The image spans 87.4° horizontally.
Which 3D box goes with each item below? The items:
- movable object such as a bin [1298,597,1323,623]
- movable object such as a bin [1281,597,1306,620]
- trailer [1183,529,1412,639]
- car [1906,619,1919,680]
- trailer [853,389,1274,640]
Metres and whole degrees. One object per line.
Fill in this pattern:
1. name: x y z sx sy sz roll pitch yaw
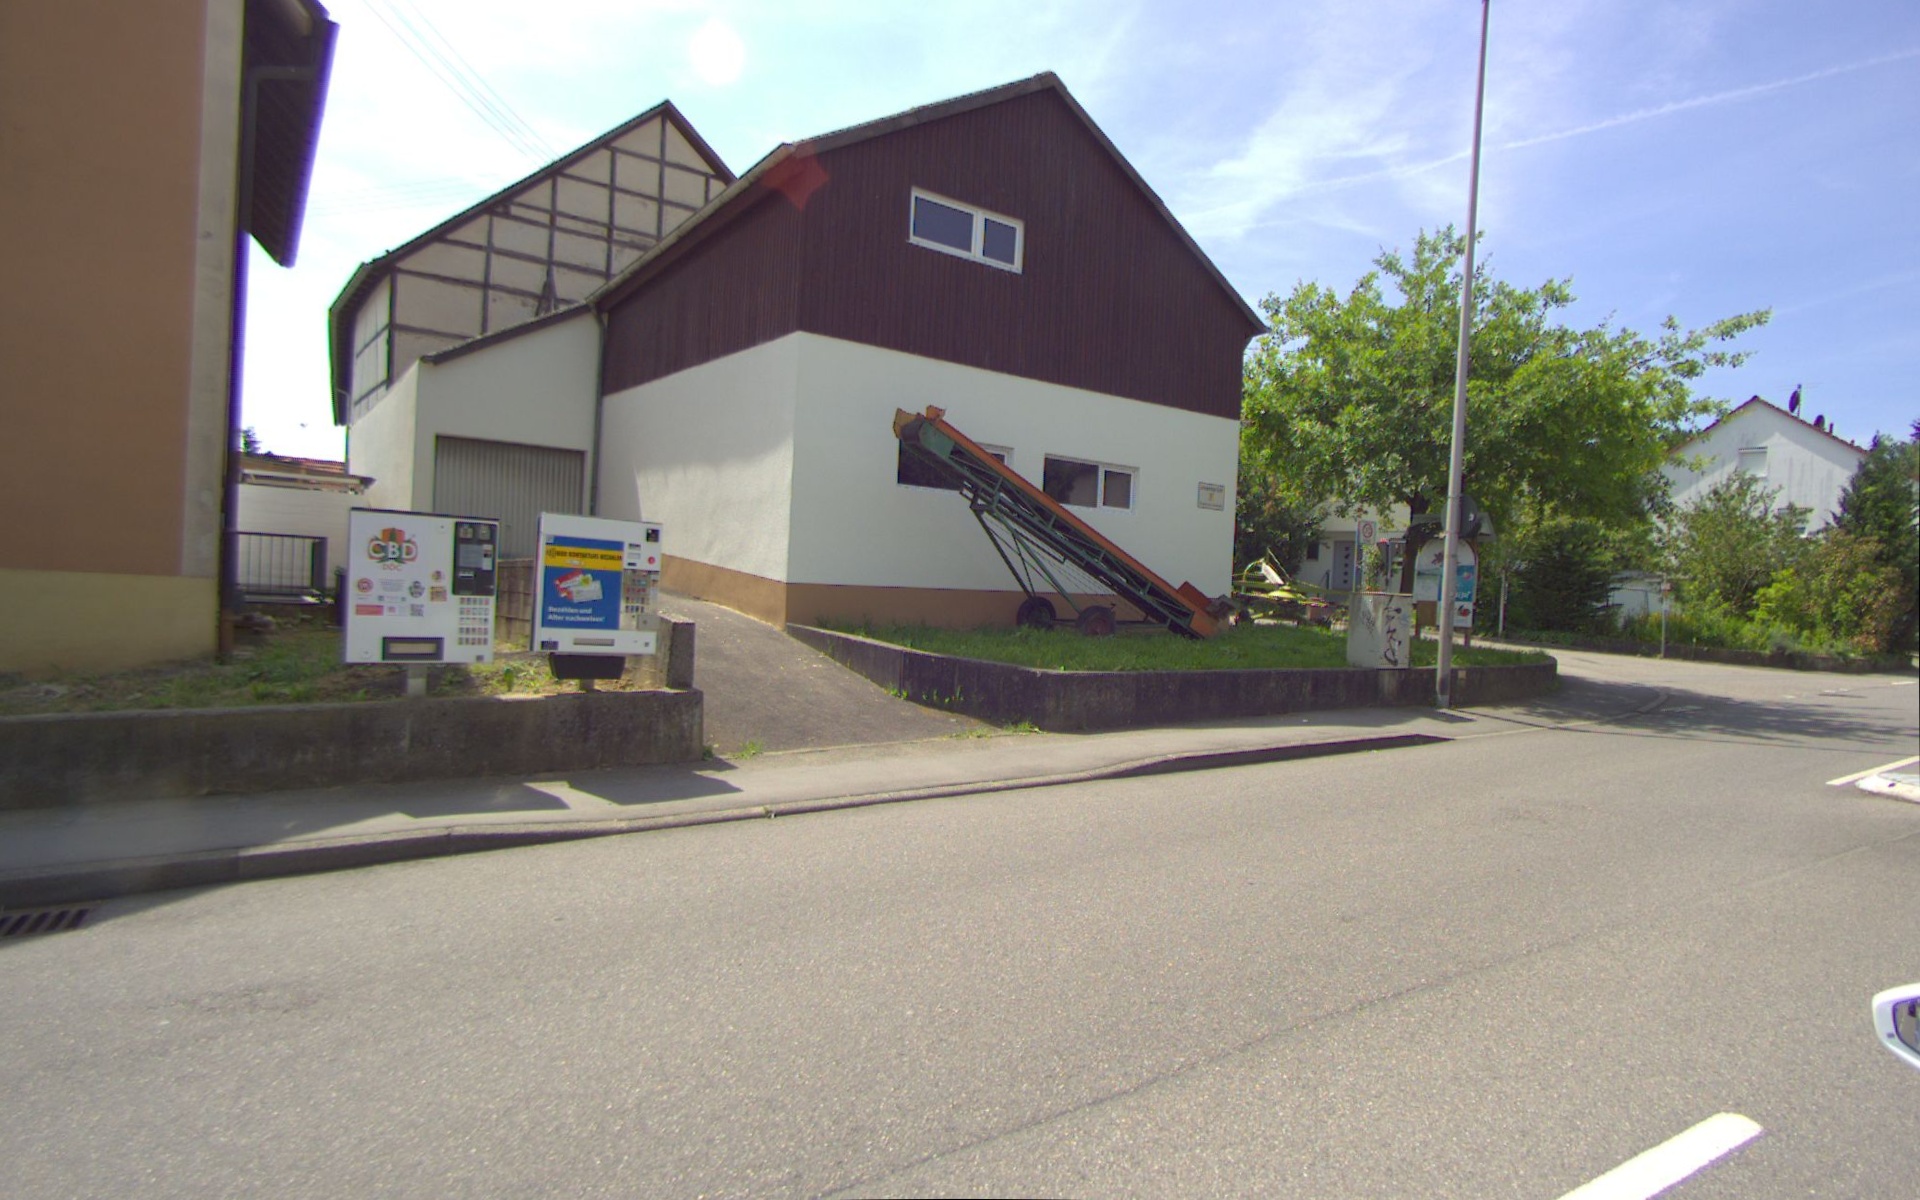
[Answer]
1. movable object such as a bin: 12.962 0.380 37.150 0.584 0.902 0.575 1 3 -26
2. movable object such as a bin: 12.596 0.332 37.945 0.596 0.821 0.636 1 1 -26
3. trailer: 6.082 -0.345 18.713 2.712 1.714 3.704 3 2 -5
4. car: 26.685 1.410 25.667 4.104 1.550 1.782 3 3 -17
5. trailer: 1.639 -0.957 13.970 6.109 2.887 1.701 1 1 -34
